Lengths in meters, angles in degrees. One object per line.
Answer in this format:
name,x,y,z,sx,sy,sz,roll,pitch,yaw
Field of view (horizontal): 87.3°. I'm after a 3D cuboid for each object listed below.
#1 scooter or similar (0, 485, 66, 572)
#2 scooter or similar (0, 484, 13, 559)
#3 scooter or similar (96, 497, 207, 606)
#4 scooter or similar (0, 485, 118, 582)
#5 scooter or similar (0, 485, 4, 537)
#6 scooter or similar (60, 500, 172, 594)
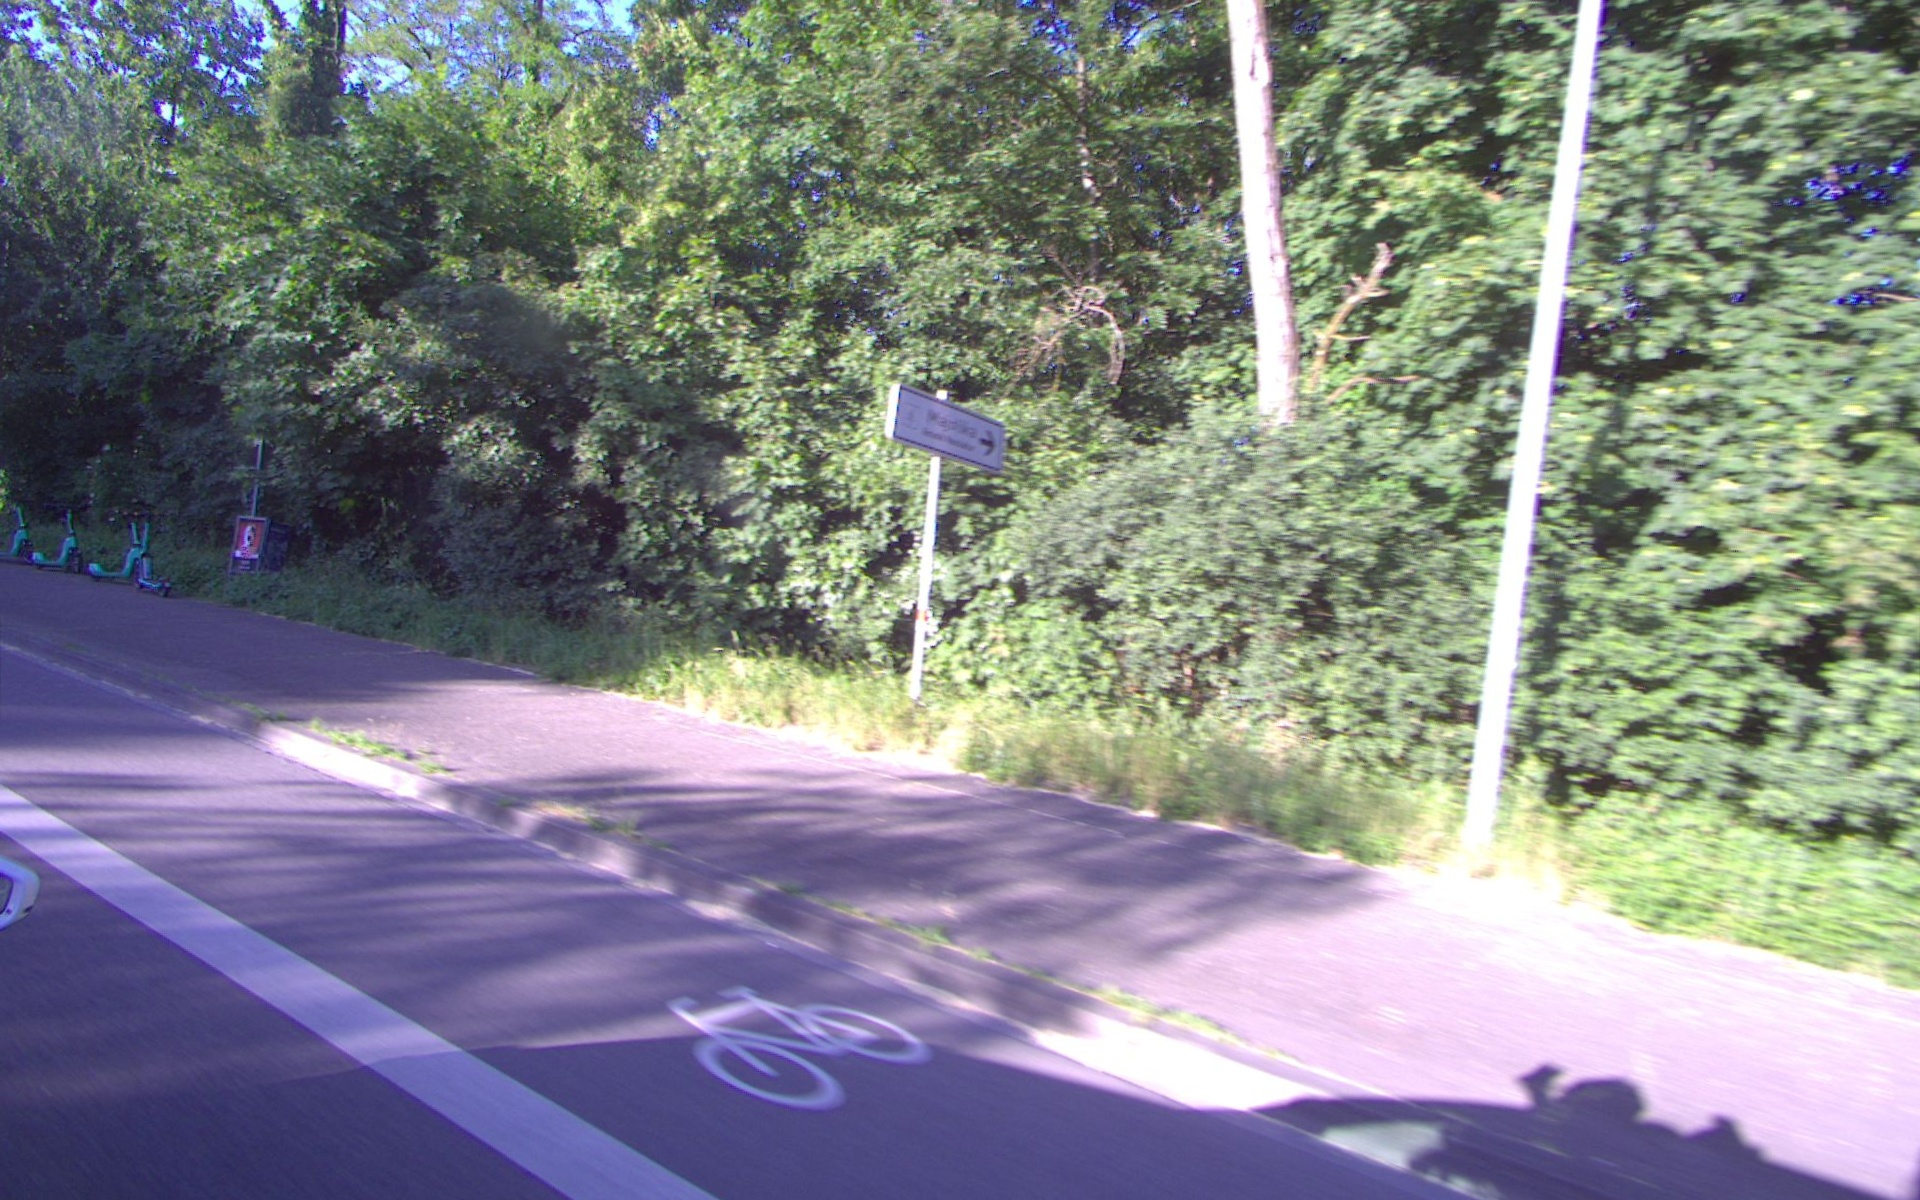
scooter or similar,-17.176,-1.339,18.160,1.650,1.441,0.684,7,1,16
scooter or similar,-19.539,-1.627,19.906,1.654,1.441,0.682,7,1,32
scooter or similar,-12.140,-0.734,15.101,1.653,1.441,0.682,7,1,31
scooter or similar,-15.392,-1.128,17.194,1.650,1.441,0.684,7,1,18
scooter or similar,-18.783,-1.530,18.678,1.650,1.441,0.684,7,1,16
scooter or similar,-13.598,-0.847,16.209,1.452,1.323,0.467,7,1,9
